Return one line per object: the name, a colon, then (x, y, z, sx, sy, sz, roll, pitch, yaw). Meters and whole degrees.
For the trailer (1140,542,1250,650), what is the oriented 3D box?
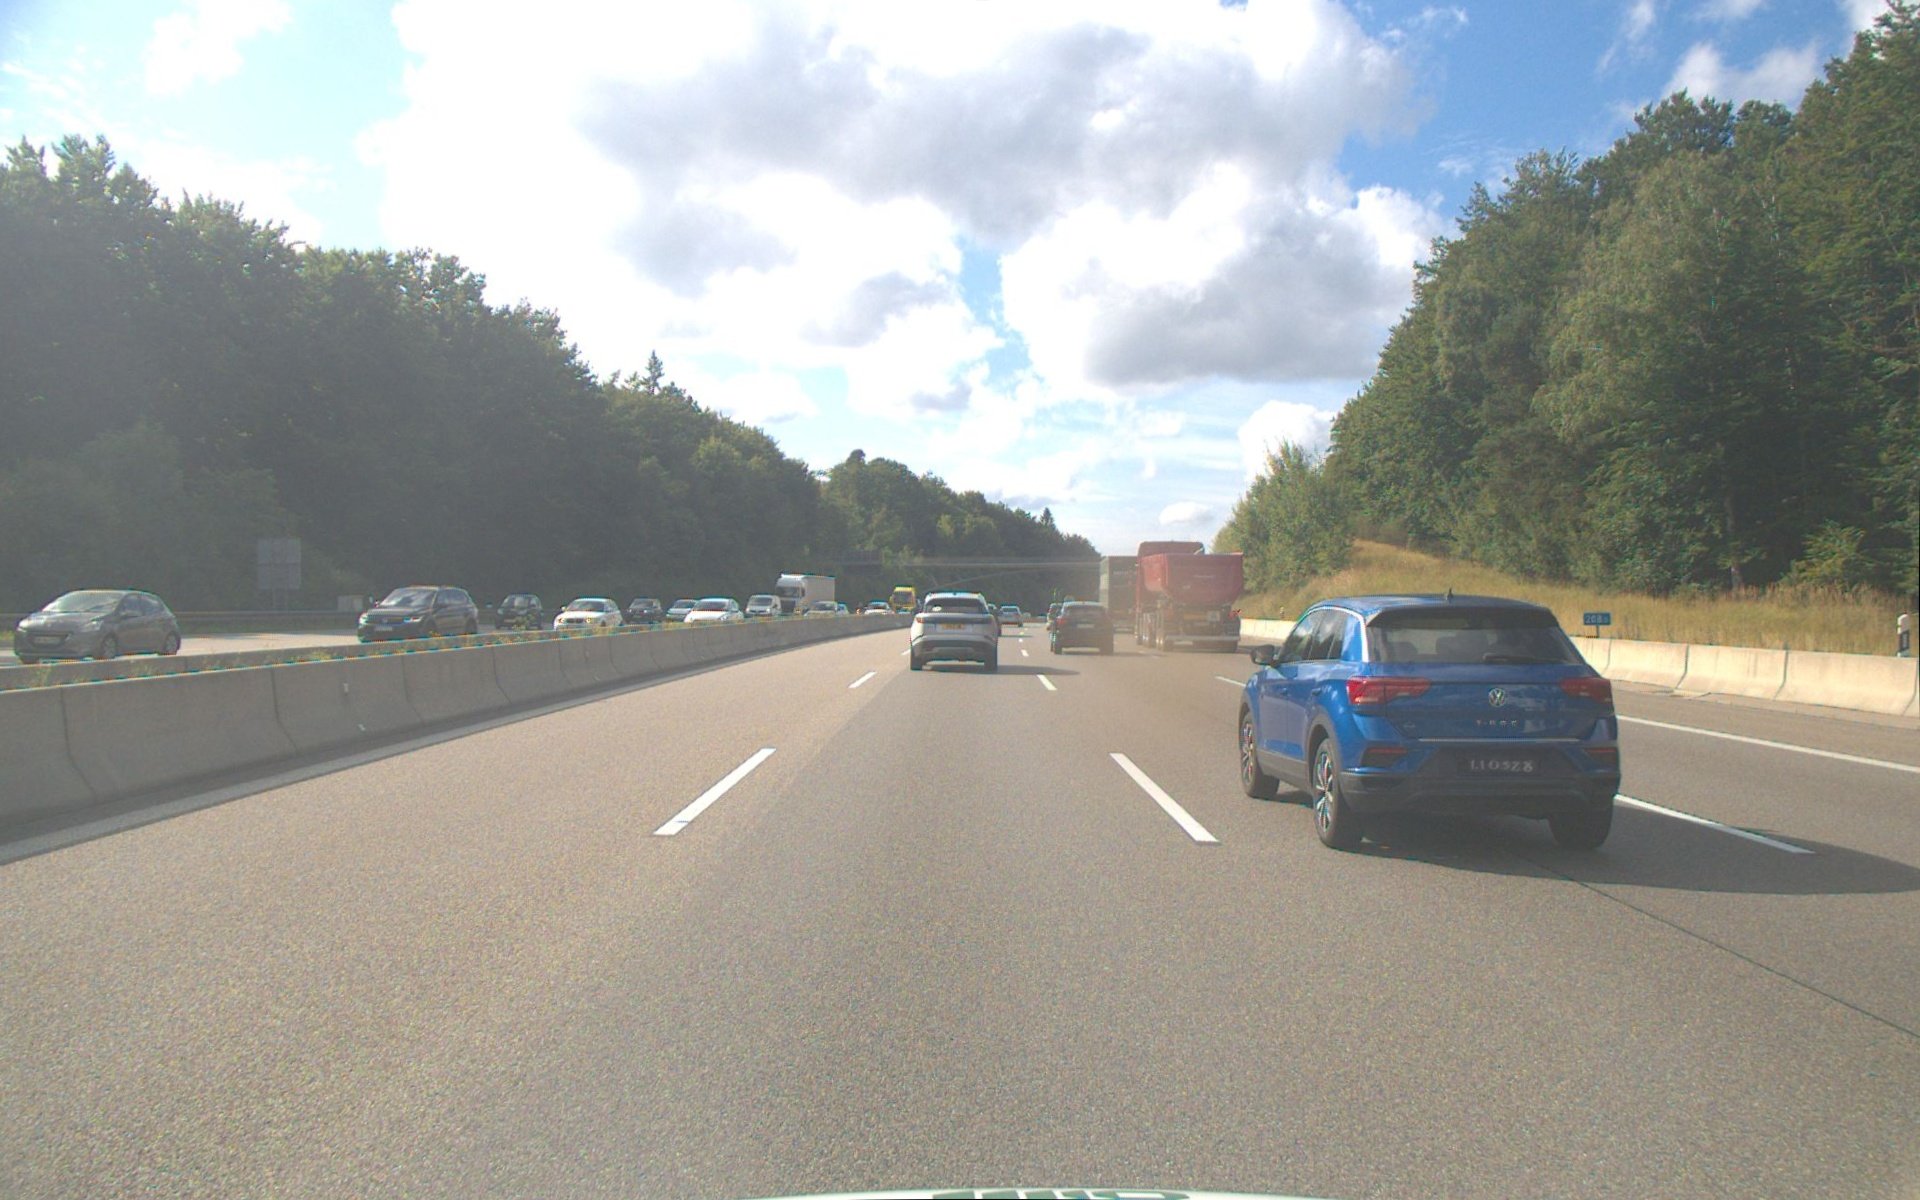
trailer: (7.712, -0.135, 55.419, 2.653, 3.288, 9.735, 1, 0, 2)

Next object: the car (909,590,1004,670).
car: (-0.095, 0.626, 37.259, 1.965, 1.644, 5.300, 1, 0, -1)

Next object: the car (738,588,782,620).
car: (-12.248, 0.235, 101.426, 1.952, 1.869, 4.731, 1, 0, 2)

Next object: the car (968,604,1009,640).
car: (1.331, 0.976, 76.341, 1.784, 1.573, 4.001, 1, 0, 2)

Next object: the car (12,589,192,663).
car: (-17.160, 0.482, 33.286, 1.603, 1.378, 3.999, 1, 0, -1)

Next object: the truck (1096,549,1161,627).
truck: (9.145, -0.608, 90.820, 3.053, 4.003, 10.415, 1, 0, 3)

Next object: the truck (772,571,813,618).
truck: (-15.082, -0.500, 149.393, 2.650, 4.140, 6.601, 1, 0, 4)

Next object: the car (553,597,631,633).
car: (-13.173, 0.502, 59.376, 1.613, 1.221, 4.441, 1, 0, 3)

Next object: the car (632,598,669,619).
car: (-18.655, 0.484, 99.869, 1.463, 1.233, 3.789, 1, 0, 1)

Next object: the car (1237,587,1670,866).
car: (3.154, 0.710, 11.543, 1.736, 1.557, 4.458, 0, 0, 1)

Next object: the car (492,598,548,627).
car: (-19.460, 0.554, 73.304, 1.462, 1.233, 3.271, 1, 0, 3)

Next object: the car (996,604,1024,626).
car: (3.581, 1.061, 117.979, 1.784, 1.483, 4.002, 1, 0, 5)

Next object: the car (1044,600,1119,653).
car: (3.590, 0.759, 49.407, 1.786, 1.483, 3.998, 1, 0, -2)

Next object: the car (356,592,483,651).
car: (-14.718, 0.547, 45.298, 1.685, 1.505, 4.632, 1, 0, 4)

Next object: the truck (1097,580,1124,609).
truck: (15.828, -0.554, 174.019, 2.784, 2.976, 8.390, 1, 0, 5)

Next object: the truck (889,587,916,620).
truck: (-6.820, 0.379, 196.889, 2.718, 3.877, 7.136, 0, 0, 3)

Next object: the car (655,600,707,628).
car: (-15.843, 0.768, 94.078, 2.028, 1.499, 4.672, 1, 0, 2)

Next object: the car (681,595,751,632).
car: (-9.358, 0.507, 63.800, 1.952, 1.331, 4.832, 1, 0, 0)

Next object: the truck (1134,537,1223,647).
truck: (7.882, -0.287, 60.321, 2.653, 3.784, 5.819, 1, 0, 2)

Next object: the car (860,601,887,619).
car: (-7.516, 0.844, 143.613, 1.809, 1.524, 4.131, 1, 0, 4)

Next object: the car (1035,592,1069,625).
car: (5.449, 0.488, 97.951, 1.854, 1.889, 4.101, 1, 0, 1)
